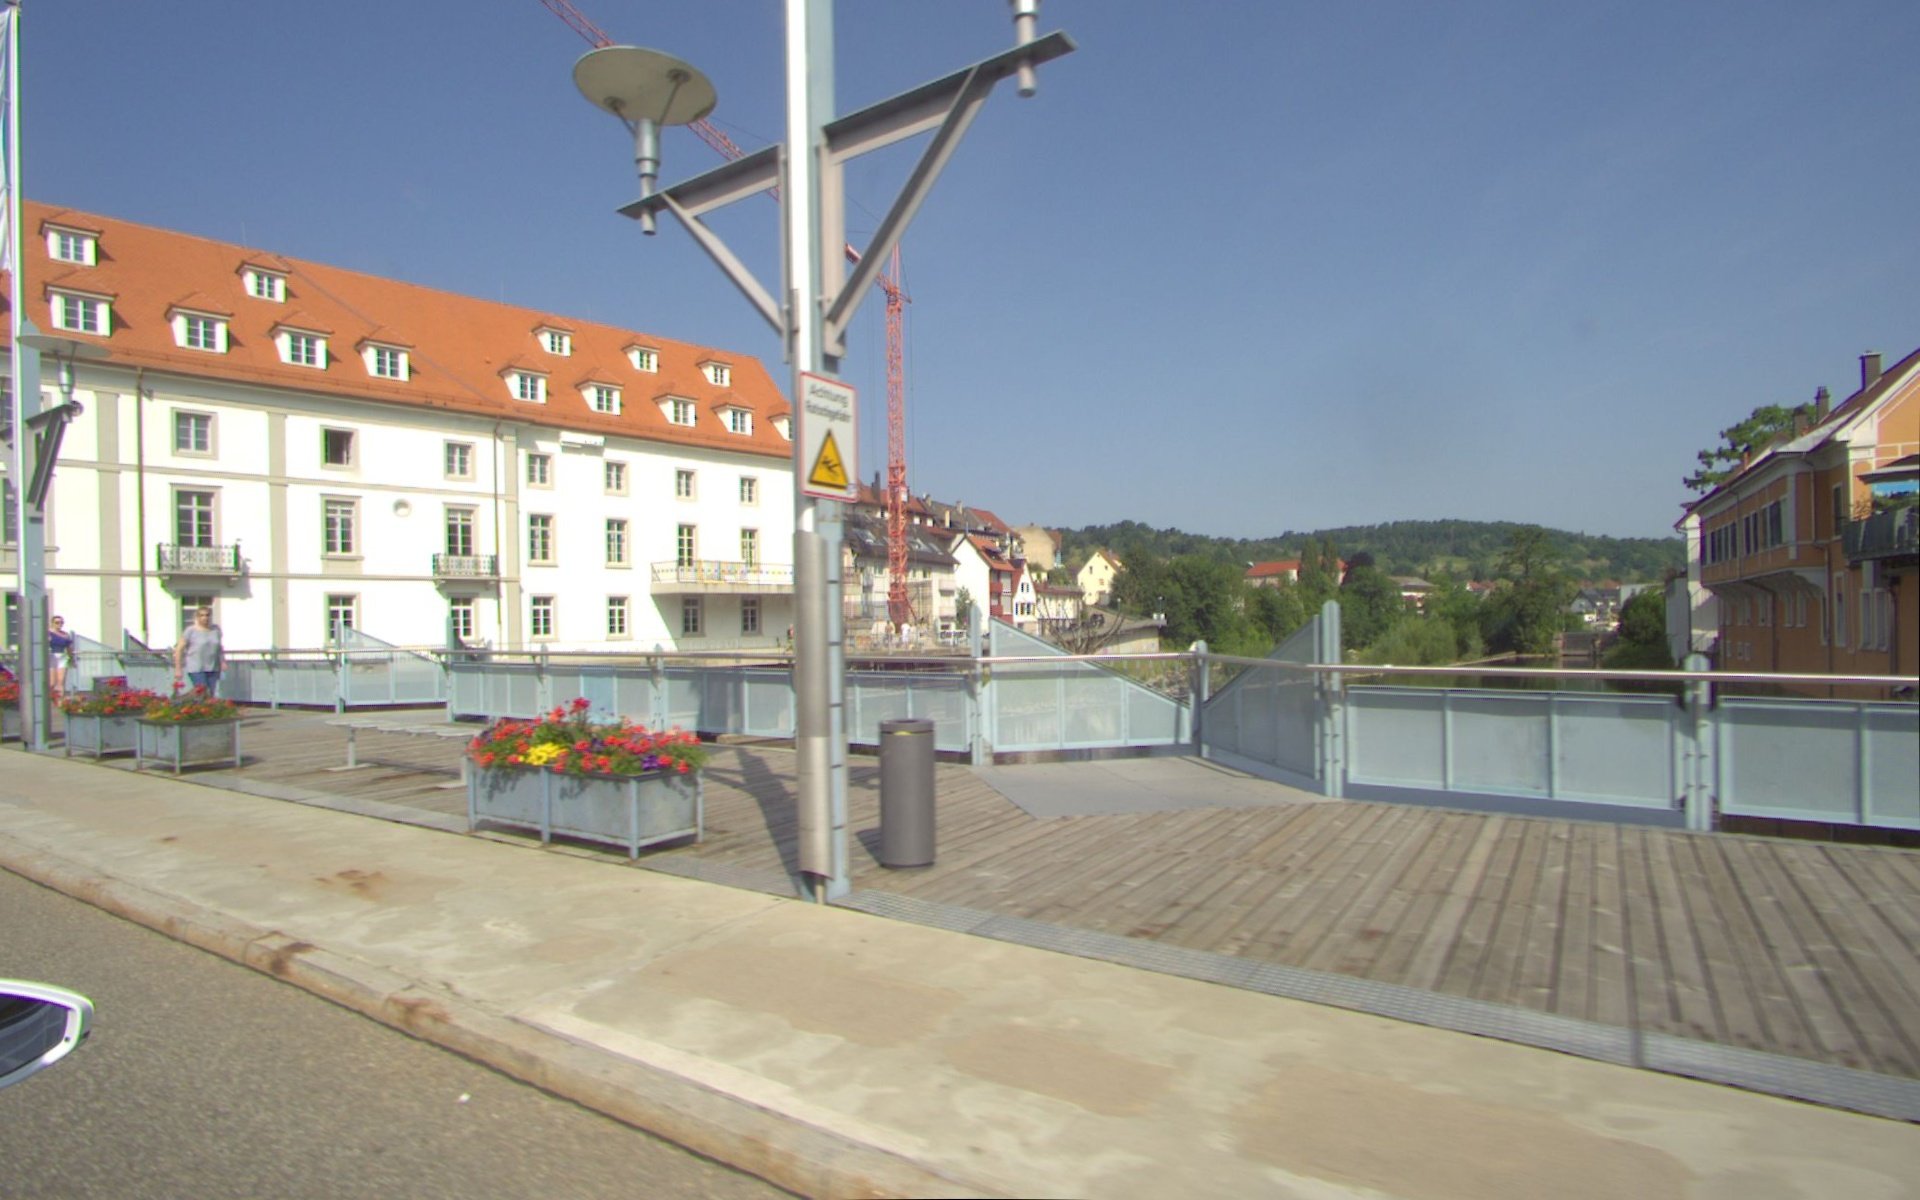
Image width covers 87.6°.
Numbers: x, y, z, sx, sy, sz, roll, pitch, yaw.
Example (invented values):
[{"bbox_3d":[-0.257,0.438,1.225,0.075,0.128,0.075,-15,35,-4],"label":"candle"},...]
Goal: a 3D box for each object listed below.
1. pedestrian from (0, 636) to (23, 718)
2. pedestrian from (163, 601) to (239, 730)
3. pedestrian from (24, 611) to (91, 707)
[{"bbox_3d":[-15.210,1.216,15.791,0.617,1.260,0.451,-2,-1,28],"label":"pedestrian"},{"bbox_3d":[-9.938,0.844,13.121,0.556,1.639,0.664,0,-1,36],"label":"pedestrian"},{"bbox_3d":[-16.870,1.082,18.720,0.736,1.745,0.725,0,-1,28],"label":"pedestrian"}]
